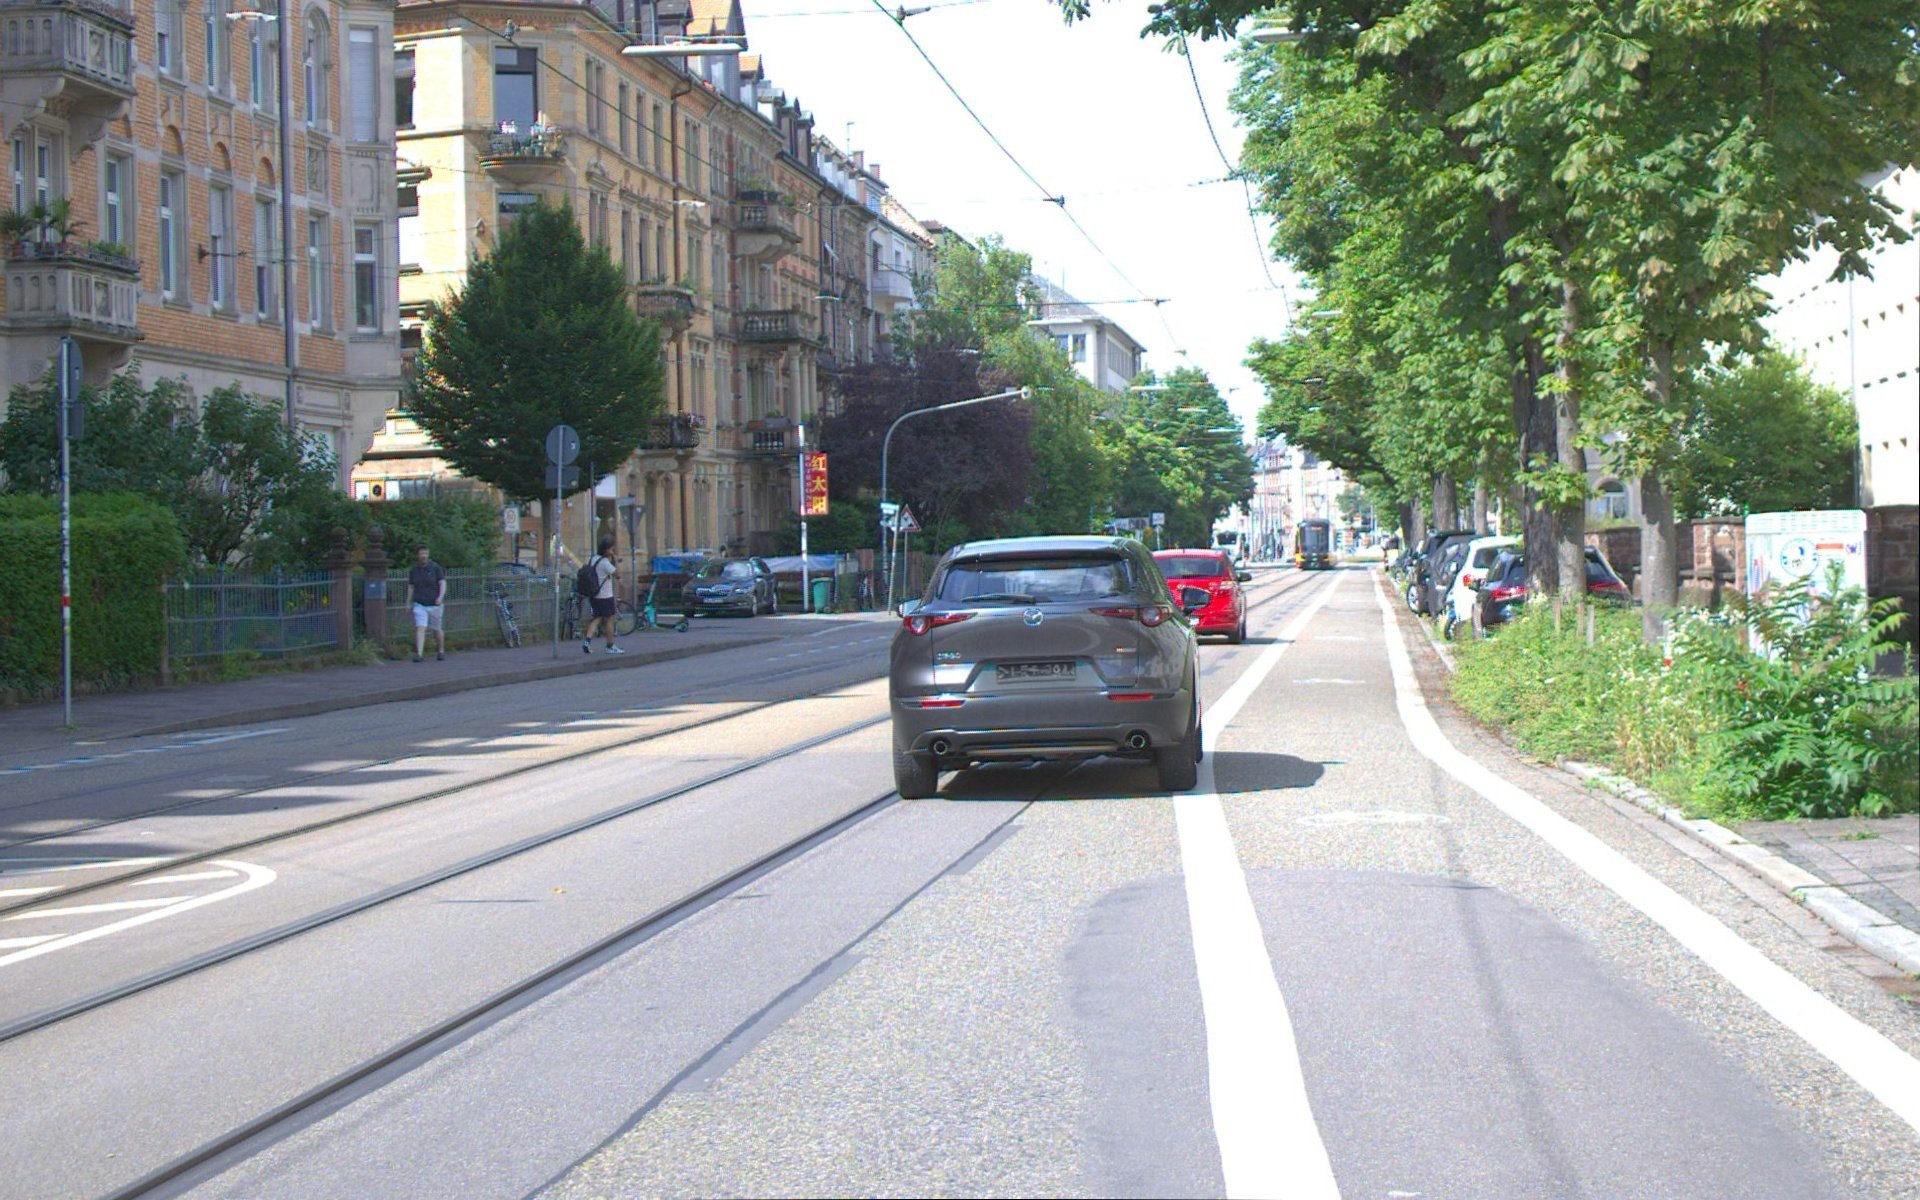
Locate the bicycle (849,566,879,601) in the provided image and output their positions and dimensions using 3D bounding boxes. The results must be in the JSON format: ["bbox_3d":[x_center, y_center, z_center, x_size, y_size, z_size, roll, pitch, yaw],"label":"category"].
[{"bbox_3d":[-2.628,-0.462,94.397,0.530,0.943,1.967,-2,1,7],"label":"bicycle"}]

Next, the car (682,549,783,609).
[{"bbox_3d":[-5.783,-0.560,88.048,1.686,1.454,4.763,-2,1,7],"label":"car"}]

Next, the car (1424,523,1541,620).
[{"bbox_3d":[9.319,-0.531,61.623,1.863,1.647,4.636,-1,1,7],"label":"car"}]

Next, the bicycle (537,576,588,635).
[{"bbox_3d":[-6.911,0.085,59.825,0.421,0.973,1.949,-1,1,6],"label":"bicycle"}]

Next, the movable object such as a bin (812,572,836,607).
[{"bbox_3d":[-3.555,-0.269,90.058,0.525,0.902,0.636,-2,1,6],"label":"movable object such as a bin"}]

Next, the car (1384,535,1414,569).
[{"bbox_3d":[26.063,-2.837,204.135,1.721,1.962,4.206,-1,1,8],"label":"car"}]

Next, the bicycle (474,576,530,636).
[{"bbox_3d":[-7.375,0.092,55.391,0.421,0.929,1.949,-1,1,6],"label":"bicycle"}]

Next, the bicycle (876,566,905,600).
[{"bbox_3d":[-1.973,-0.485,98.071,0.530,0.943,1.967,-2,1,7],"label":"bicycle"}]

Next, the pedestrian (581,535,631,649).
[{"bbox_3d":[-5.519,-0.137,53.646,0.533,1.754,1.105,1,1,6],"label":"pedestrian"}]

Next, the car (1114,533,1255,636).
[{"bbox_3d":[3.557,-0.258,53.855,1.994,1.523,3.999,1,1,7],"label":"car"}]

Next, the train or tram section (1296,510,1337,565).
[{"bbox_3d":[25.074,-4.424,242.073,2.572,3.759,13.024,-1,1,5],"label":"train or tram section"}]

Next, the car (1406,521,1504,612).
[{"bbox_3d":[10.233,-0.724,71.341,1.827,1.776,4.732,-2,1,7],"label":"car"}]

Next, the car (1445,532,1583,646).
[{"bbox_3d":[8.089,-0.188,50.438,1.742,1.575,4.248,-1,1,6],"label":"car"}]

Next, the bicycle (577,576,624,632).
[{"bbox_3d":[-6.519,0.057,62.382,0.421,0.973,1.949,-1,1,6],"label":"bicycle"}]

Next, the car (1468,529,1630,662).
[{"bbox_3d":[7.130,-0.089,41.924,1.661,1.516,4.287,-1,1,6],"label":"car"}]

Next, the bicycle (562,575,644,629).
[{"bbox_3d":[-6.681,0.033,64.372,1.453,0.973,0.404,-2,1,7],"label":"bicycle"}]

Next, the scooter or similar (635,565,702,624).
[{"bbox_3d":[-6.182,-0.115,72.939,1.361,1.230,0.404,-1,1,-21],"label":"scooter or similar"}]

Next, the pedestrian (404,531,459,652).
[{"bbox_3d":[-7.537,-0.124,49.041,0.487,1.697,1.151,-1,1,5],"label":"pedestrian"}]

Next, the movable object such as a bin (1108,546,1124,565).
[{"bbox_3d":[8.090,-2.318,178.087,0.745,0.984,1.114,1,1,7],"label":"movable object such as a bin"}]

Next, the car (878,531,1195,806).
[{"bbox_3d":[0.554,0.363,21.275,1.721,1.521,3.589,-1,1,5],"label":"car"}]
